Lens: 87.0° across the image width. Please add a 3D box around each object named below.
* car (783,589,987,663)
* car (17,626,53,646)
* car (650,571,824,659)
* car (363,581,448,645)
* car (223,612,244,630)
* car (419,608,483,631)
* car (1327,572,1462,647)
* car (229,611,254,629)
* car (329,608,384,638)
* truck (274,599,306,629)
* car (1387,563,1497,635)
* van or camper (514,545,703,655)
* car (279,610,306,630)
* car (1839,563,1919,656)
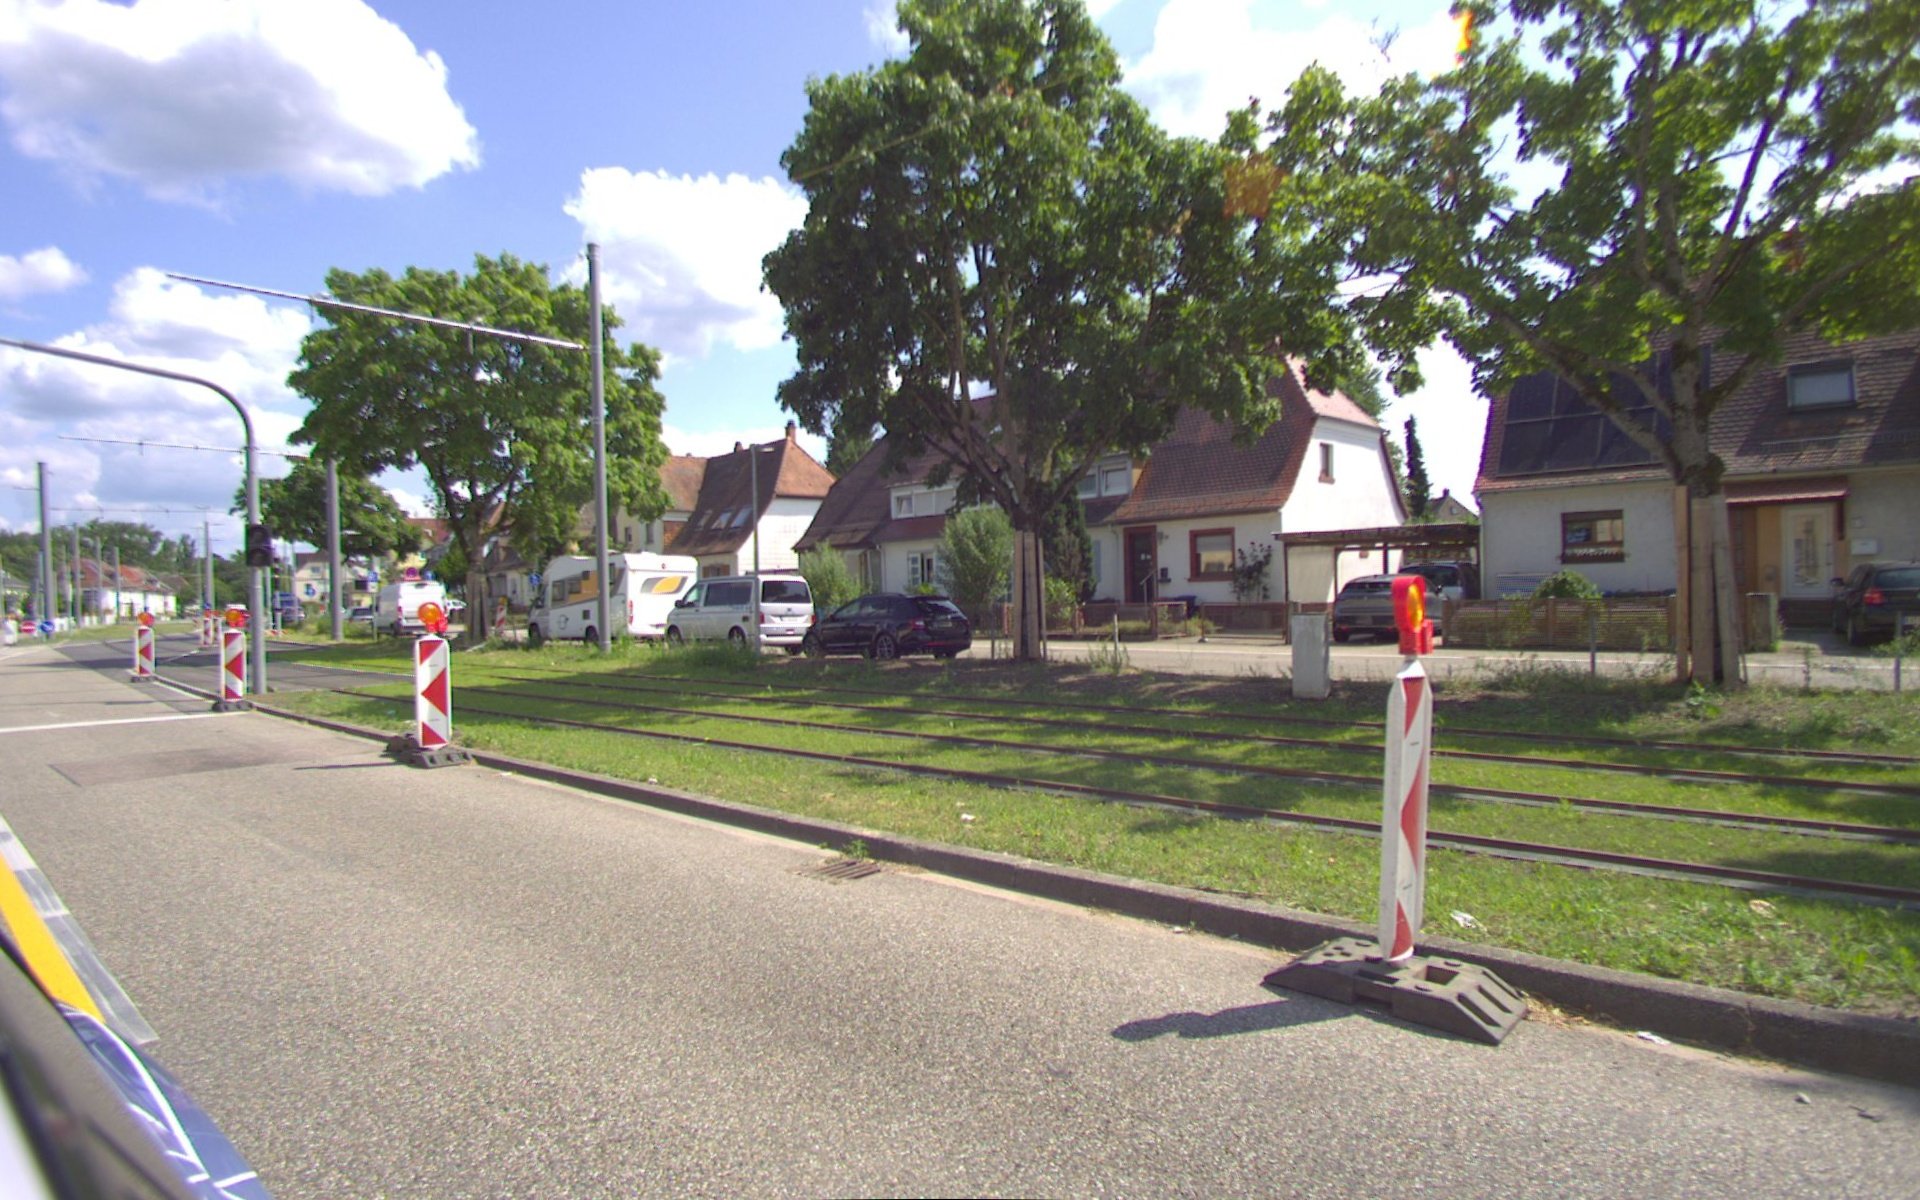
[{"bbox_3d":[-1.737,0.535,21.858,1.830,1.397,4.814,-2,0,-42],"label":"car"},{"bbox_3d":[-77.216,2.993,84.520,1.851,1.564,4.995,-2,0,-38],"label":"car"},{"bbox_3d":[-5.829,0.374,26.020,4.905,2.029,1.971,-1,0,44],"label":"car"},{"bbox_3d":[-24.811,0.563,45.185,2.128,2.688,4.920,-2,0,-43],"label":"car"},{"bbox_3d":[-78.339,2.247,109.145,1.703,1.868,4.551,-2,0,-37],"label":"car"},{"bbox_3d":[-38.335,1.440,76.247,1.762,1.556,3.905,-2,0,45],"label":"car"},{"bbox_3d":[10.060,0.175,23.296,1.871,1.541,3.949,-2,1,38],"label":"car"},{"bbox_3d":[-65.604,1.844,92.373,1.703,1.574,4.552,-2,0,-36],"label":"car"},{"bbox_3d":[-31.949,1.198,53.514,1.671,1.476,4.761,-1,0,-41],"label":"car"},{"bbox_3d":[-76.224,1.603,115.097,2.798,3.178,7.954,-2,0,-34],"label":"truck"},{"bbox_3d":[12.909,-0.071,27.003,1.797,1.750,3.949,-2,1,38],"label":"car"},{"bbox_3d":[-10.847,0.040,30.776,7.298,2.992,2.349,-1,0,44],"label":"van or camper"},{"bbox_3d":[-56.088,1.671,85.128,1.701,1.538,4.784,-2,0,-31],"label":"car"},{"bbox_3d":[16.406,0.106,17.393,1.733,1.468,3.846,-2,0,38],"label":"car"}]
